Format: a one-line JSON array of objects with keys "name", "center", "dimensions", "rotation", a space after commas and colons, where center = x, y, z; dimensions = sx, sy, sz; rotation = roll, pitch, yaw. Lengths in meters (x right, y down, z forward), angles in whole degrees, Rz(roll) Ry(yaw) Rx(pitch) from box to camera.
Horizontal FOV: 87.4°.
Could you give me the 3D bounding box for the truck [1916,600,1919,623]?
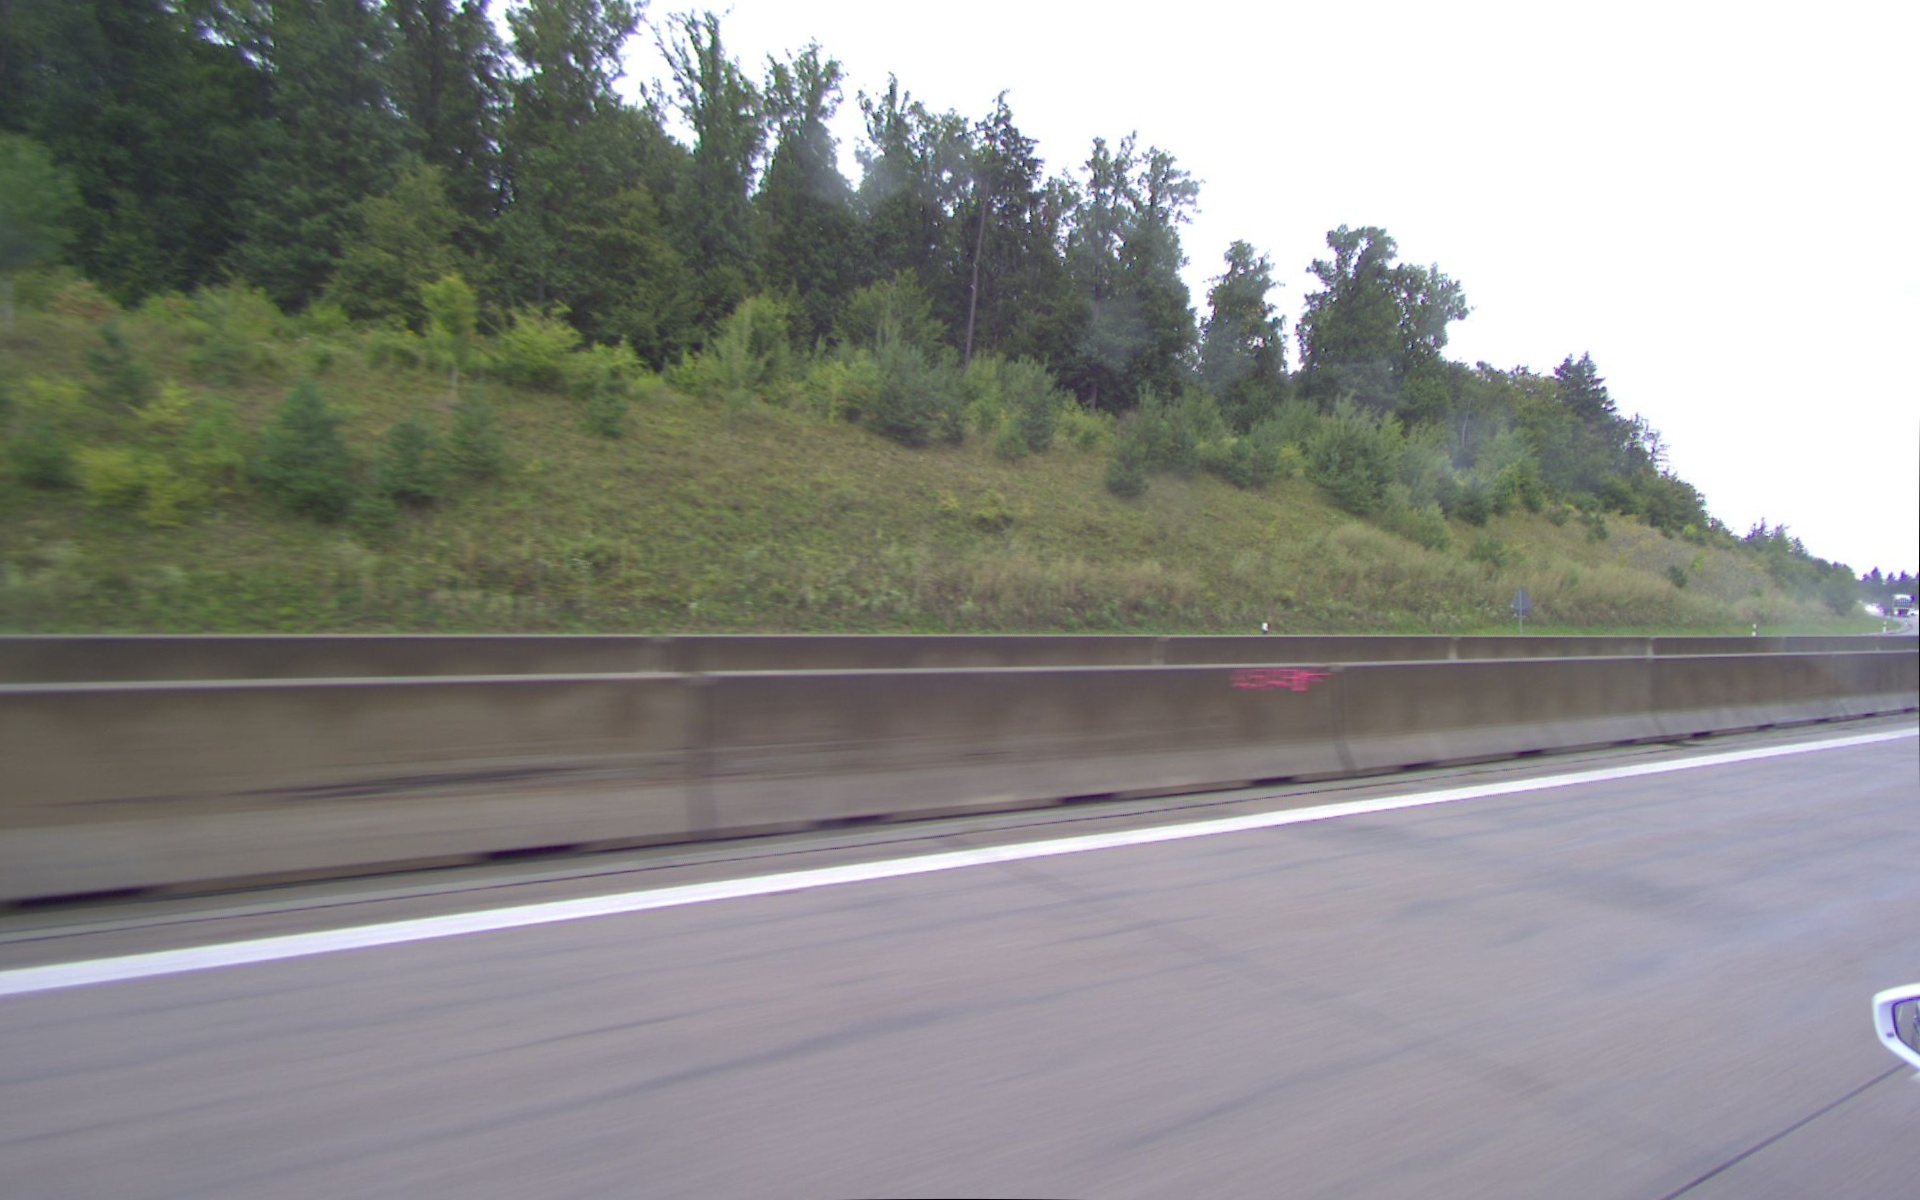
[{"name": "truck", "center": [180.548, 2.152, 187.447], "dimensions": [8.258, 4.342, 2.718], "rotation": [1, 0, -44]}]
